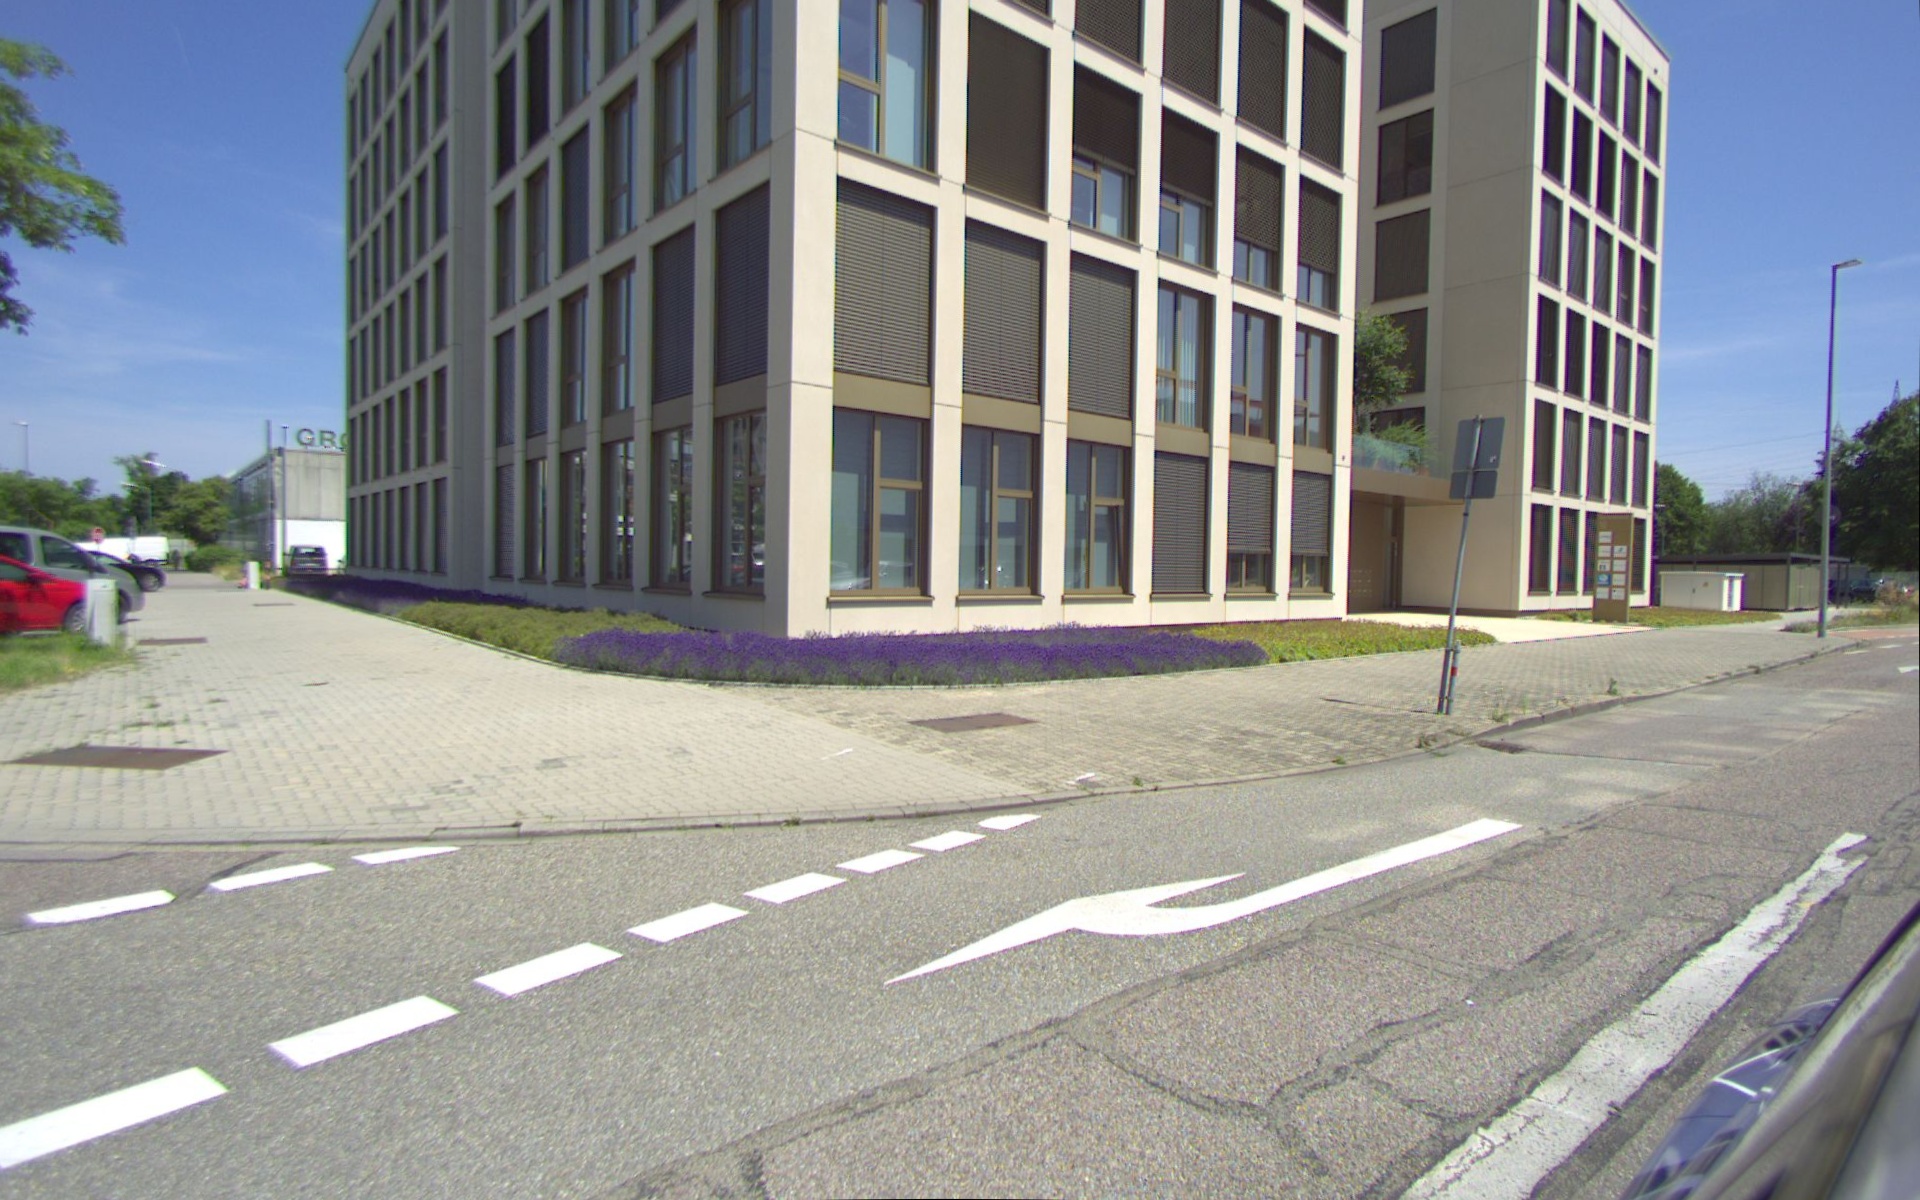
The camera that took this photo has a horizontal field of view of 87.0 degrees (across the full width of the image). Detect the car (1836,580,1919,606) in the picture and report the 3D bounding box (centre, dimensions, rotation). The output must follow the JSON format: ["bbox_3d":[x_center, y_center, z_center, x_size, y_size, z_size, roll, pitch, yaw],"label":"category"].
[{"bbox_3d":[55.248,-0.448,60.783,3.810,1.411,1.716,2,2,36],"label":"car"}]

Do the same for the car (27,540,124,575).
[{"bbox_3d":[-55.163,-2.601,63.227,4.495,2.039,1.997,-1,0,-40],"label":"car"}]

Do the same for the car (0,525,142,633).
[{"bbox_3d":[-17.913,-0.401,18.388,1.886,1.910,4.927,1,1,5],"label":"car"}]

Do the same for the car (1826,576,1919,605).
[{"bbox_3d":[53.639,-0.571,59.572,3.810,1.571,1.716,2,2,36],"label":"car"}]

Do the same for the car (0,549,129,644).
[{"bbox_3d":[-15.468,-0.063,15.595,1.672,1.449,3.990,1,3,10],"label":"car"}]

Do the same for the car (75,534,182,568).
[{"bbox_3d":[-67.177,-3.884,81.934,6.573,2.552,2.217,-1,0,-38],"label":"car"}]

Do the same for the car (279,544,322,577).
[{"bbox_3d":[-38.114,-2.236,58.449,1.763,1.749,3.997,0,0,-38],"label":"car"}]

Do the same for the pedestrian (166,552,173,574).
[{"bbox_3d":[-57.686,-2.687,73.831,0.397,1.579,0.549,0,2,-39],"label":"pedestrian"}]
